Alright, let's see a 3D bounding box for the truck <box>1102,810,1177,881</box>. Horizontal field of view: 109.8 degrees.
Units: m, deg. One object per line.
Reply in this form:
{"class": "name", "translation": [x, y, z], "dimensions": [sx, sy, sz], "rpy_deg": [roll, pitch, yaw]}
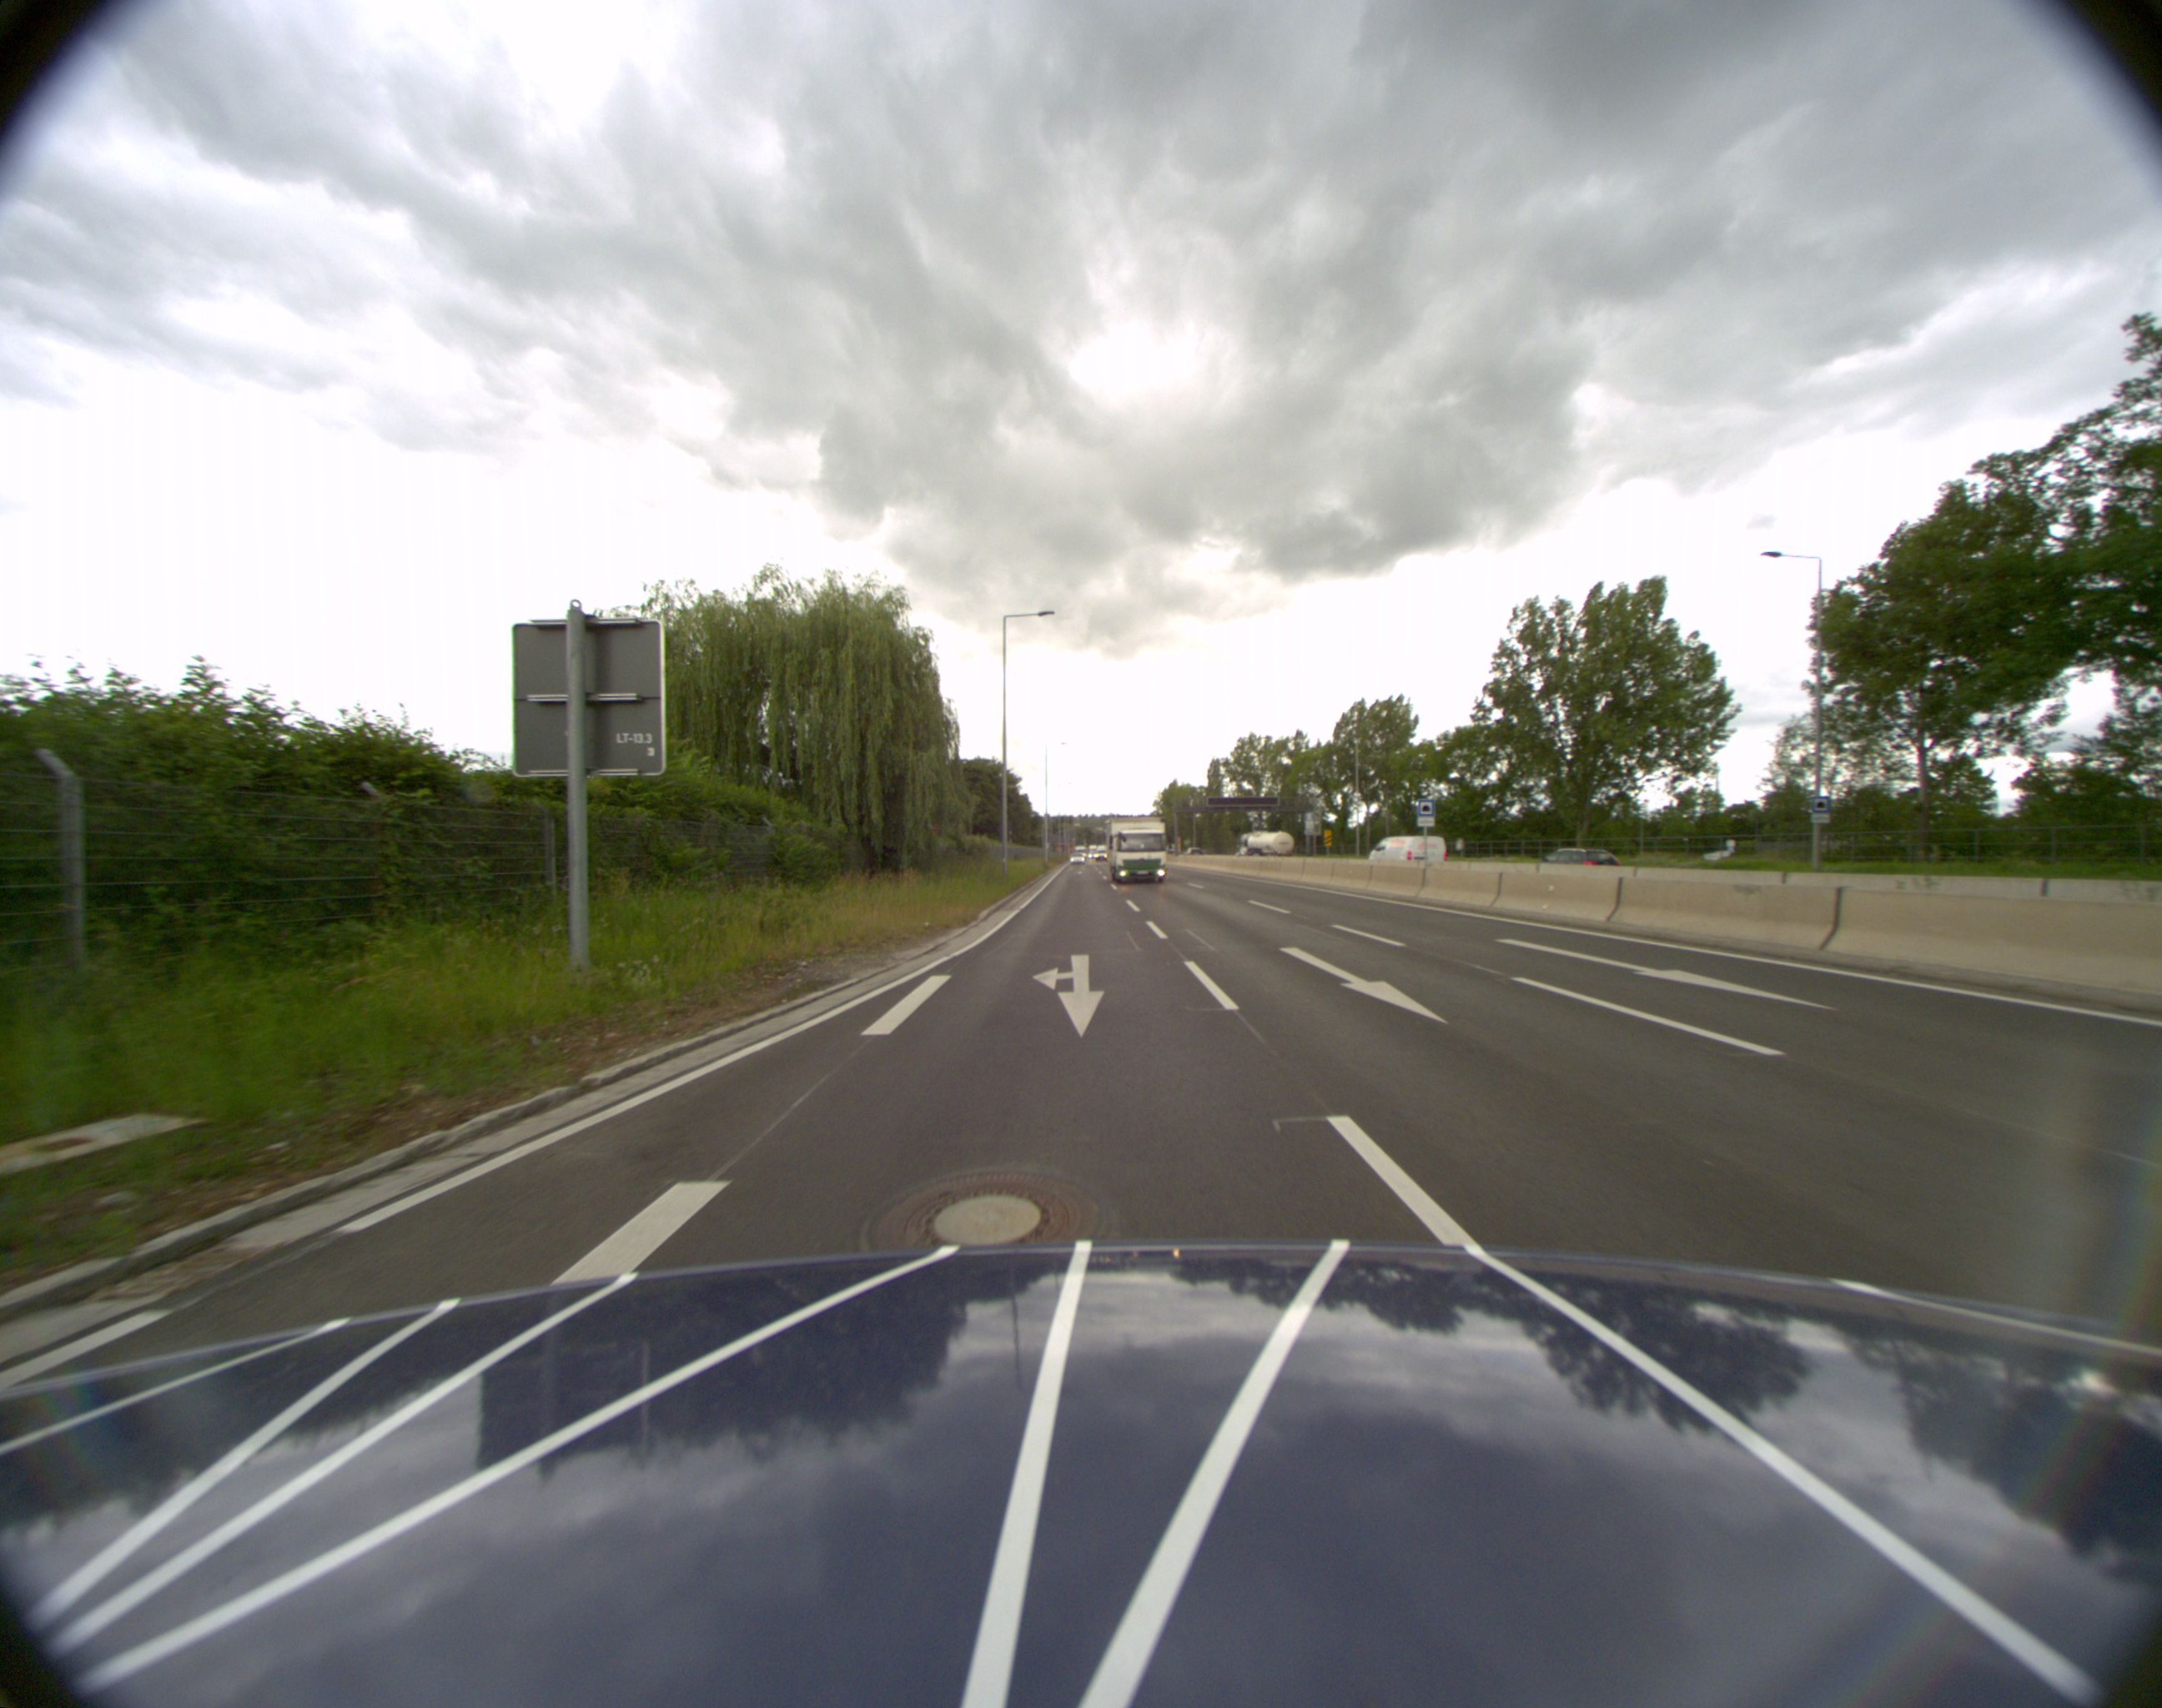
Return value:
{"class": "truck", "translation": [2.775, -0.415, 38.556], "dimensions": [2.943, 3.065, 8.385], "rpy_deg": [-3, 0, -1]}

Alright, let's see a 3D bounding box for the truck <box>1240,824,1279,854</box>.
{"class": "truck", "translation": [20.600, -1.708, 88.024], "dimensions": [3.106, 3.201, 5.391], "rpy_deg": [-3, 1, 0]}

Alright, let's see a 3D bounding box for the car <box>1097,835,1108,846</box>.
{"class": "car", "translation": [4.185, -2.642, 148.074], "dimensions": [1.998, 2.002, 3.999], "rpy_deg": [-3, 1, 0]}

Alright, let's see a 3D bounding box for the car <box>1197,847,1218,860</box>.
{"class": "car", "translation": [16.976, -0.088, 101.838], "dimensions": [1.998, 1.608, 4.696], "rpy_deg": [-3, 0, 1]}

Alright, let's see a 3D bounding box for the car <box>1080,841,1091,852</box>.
{"class": "car", "translation": [0.920, -1.416, 147.771], "dimensions": [1.998, 2.002, 3.999], "rpy_deg": [-3, 1, 0]}

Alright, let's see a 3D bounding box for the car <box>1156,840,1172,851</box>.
{"class": "car", "translation": [13.189, -1.385, 121.012], "dimensions": [1.998, 1.608, 4.696], "rpy_deg": [-3, 0, 1]}

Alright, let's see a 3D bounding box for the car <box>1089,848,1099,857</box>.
{"class": "car", "translation": [2.876, -0.347, 170.493], "dimensions": [1.998, 2.002, 4.000], "rpy_deg": [-3, 1, 0]}

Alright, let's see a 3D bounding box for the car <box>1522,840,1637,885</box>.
{"class": "car", "translation": [21.232, 0.329, 32.624], "dimensions": [1.998, 1.729, 4.469], "rpy_deg": [-3, 1, 1]}

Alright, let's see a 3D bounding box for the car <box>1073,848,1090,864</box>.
{"class": "car", "translation": [0.027, 0.226, 96.364], "dimensions": [1.998, 1.849, 3.999], "rpy_deg": [-3, 1, 0]}

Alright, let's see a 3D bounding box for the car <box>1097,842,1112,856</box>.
{"class": "car", "translation": [3.624, -0.737, 118.146], "dimensions": [1.998, 2.002, 3.999], "rpy_deg": [-3, 1, 0]}

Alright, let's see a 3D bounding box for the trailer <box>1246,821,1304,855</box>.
{"class": "trailer", "translation": [20.592, -1.654, 81.566], "dimensions": [3.108, 3.201, 11.666], "rpy_deg": [-3, 0, 0]}

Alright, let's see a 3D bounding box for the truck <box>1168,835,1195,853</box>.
{"class": "truck", "translation": [19.148, -1.864, 145.517], "dimensions": [2.861, 3.089, 15.882], "rpy_deg": [-3, 0, 0]}

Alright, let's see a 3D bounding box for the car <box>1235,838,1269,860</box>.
{"class": "car", "translation": [14.391, -0.423, 64.180], "dimensions": [1.998, 1.729, 4.000], "rpy_deg": [-3, 1, 1]}

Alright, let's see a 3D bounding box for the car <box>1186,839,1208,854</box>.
{"class": "car", "translation": [14.176, -0.924, 93.084], "dimensions": [1.998, 1.608, 4.696], "rpy_deg": [-3, 0, 1]}

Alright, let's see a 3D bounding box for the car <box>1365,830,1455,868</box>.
{"class": "car", "translation": [15.454, -0.237, 36.037], "dimensions": [1.999, 1.550, 4.884], "rpy_deg": [-3, 0, -1]}
